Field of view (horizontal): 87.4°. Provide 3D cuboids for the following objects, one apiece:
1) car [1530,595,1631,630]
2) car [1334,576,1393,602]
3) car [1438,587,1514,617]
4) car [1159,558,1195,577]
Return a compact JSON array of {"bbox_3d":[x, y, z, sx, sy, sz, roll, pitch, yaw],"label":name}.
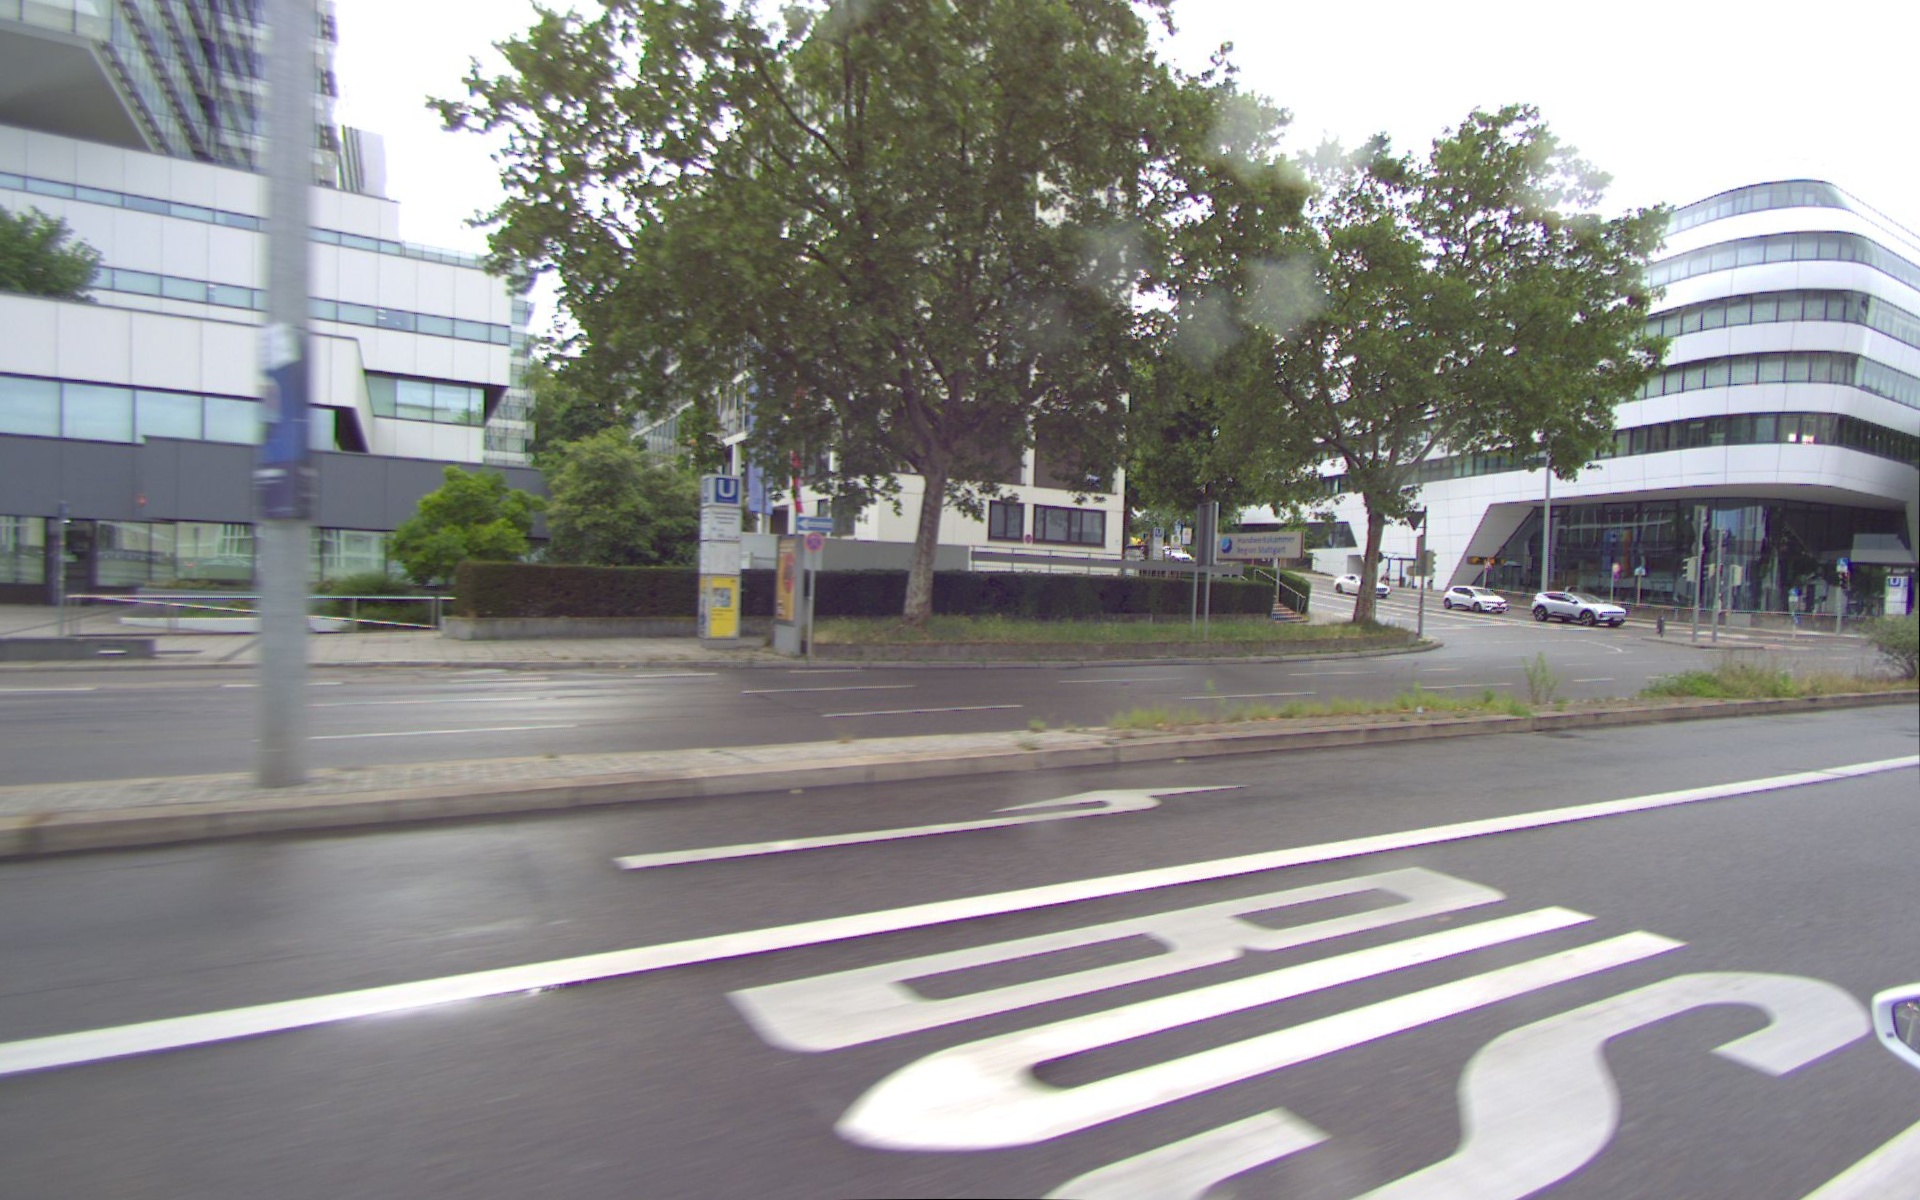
[{"bbox_3d":[32.462,0.621,52.703,1.862,1.653,4.505,3,0,-13],"label":"car"},{"bbox_3d":[28.298,-0.780,70.627,1.862,1.653,3.989,3,1,-13],"label":"car"},{"bbox_3d":[31.026,0.090,60.526,1.862,1.653,3.990,3,0,-13],"label":"car"},{"bbox_3d":[21.528,-3.235,99.826,1.862,1.653,3.989,3,2,-13],"label":"car"}]
